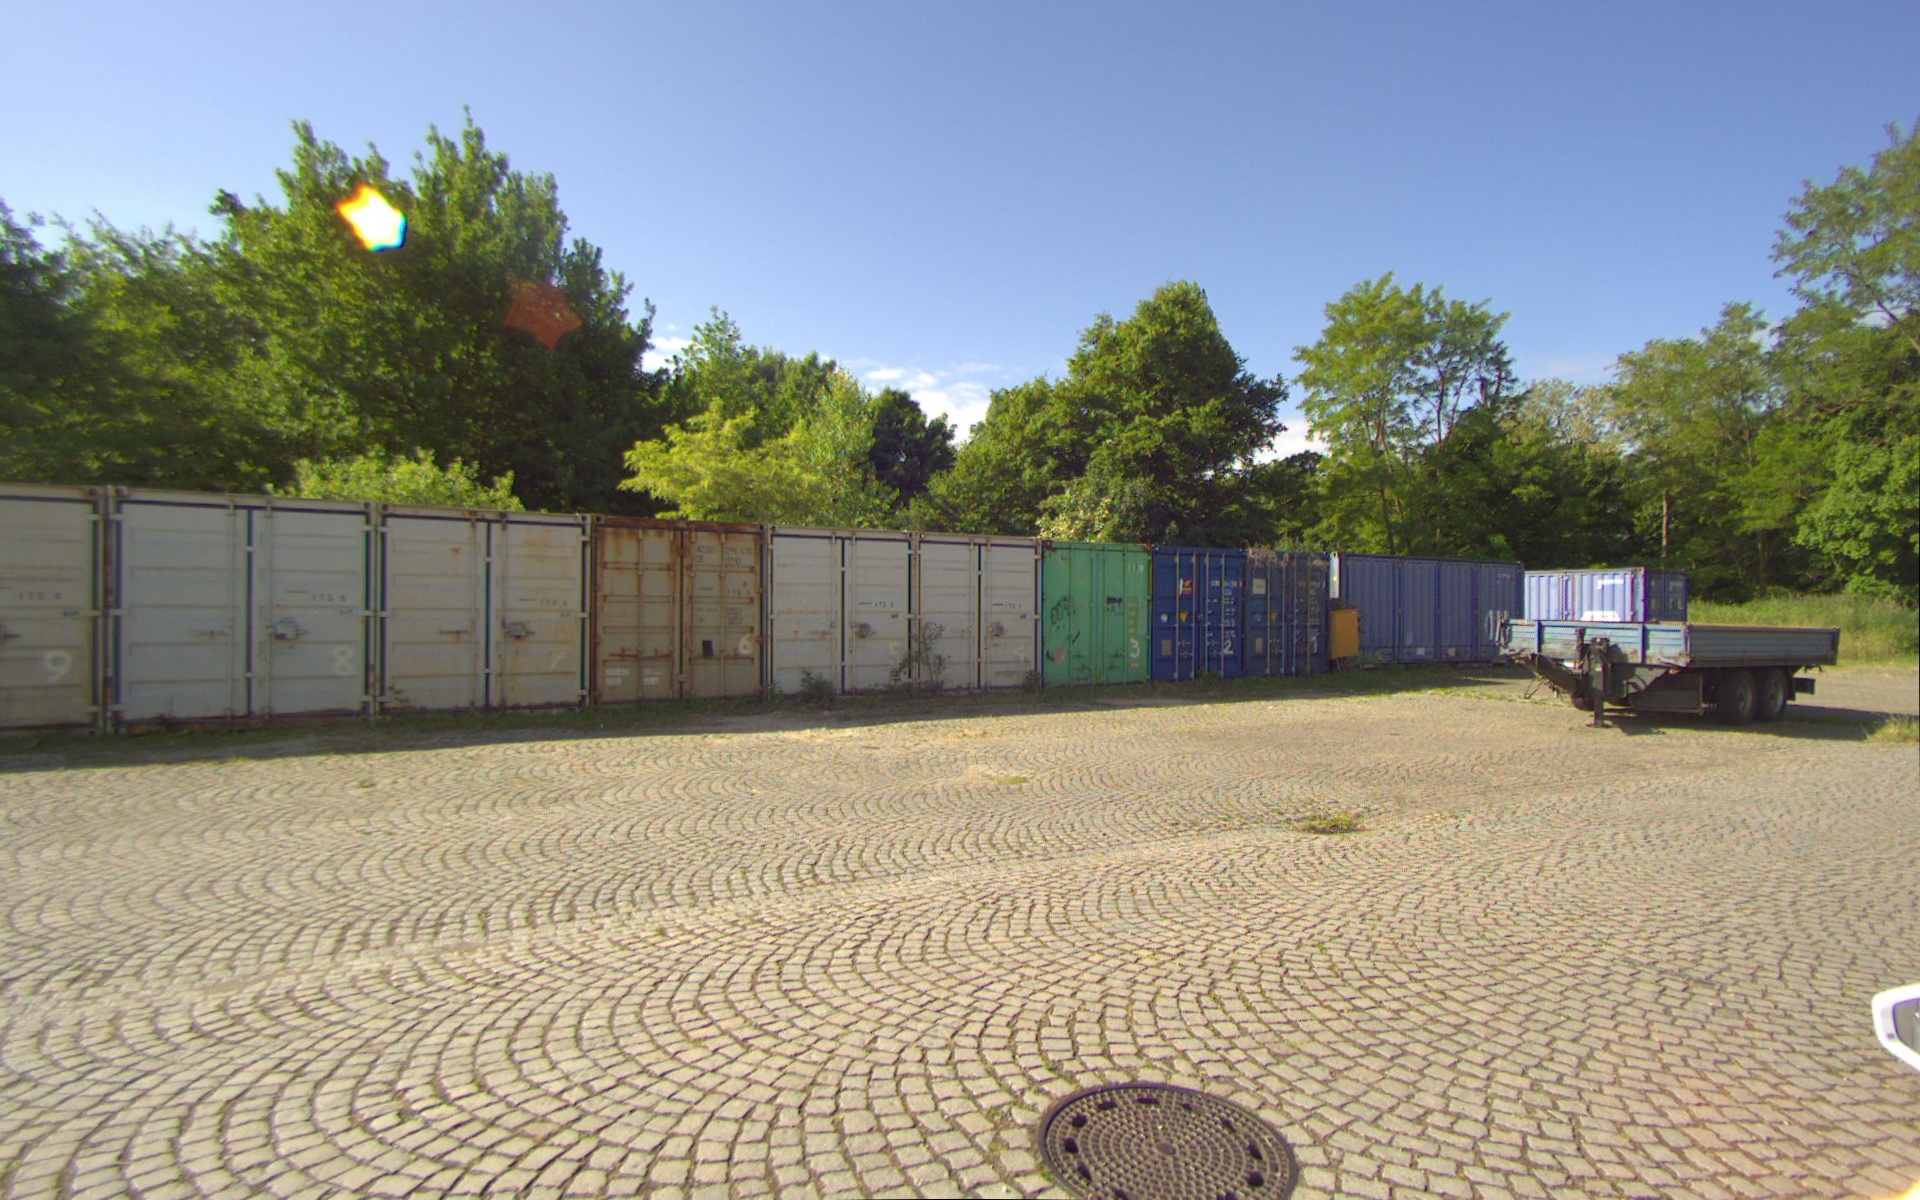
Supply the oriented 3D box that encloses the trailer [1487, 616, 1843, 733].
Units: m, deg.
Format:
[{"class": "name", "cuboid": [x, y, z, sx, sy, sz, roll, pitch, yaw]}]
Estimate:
[{"class": "trailer", "cuboid": [10.606, 1.008, 15.084, 4.805, 1.433, 2.628, 1, 0, -30]}]
